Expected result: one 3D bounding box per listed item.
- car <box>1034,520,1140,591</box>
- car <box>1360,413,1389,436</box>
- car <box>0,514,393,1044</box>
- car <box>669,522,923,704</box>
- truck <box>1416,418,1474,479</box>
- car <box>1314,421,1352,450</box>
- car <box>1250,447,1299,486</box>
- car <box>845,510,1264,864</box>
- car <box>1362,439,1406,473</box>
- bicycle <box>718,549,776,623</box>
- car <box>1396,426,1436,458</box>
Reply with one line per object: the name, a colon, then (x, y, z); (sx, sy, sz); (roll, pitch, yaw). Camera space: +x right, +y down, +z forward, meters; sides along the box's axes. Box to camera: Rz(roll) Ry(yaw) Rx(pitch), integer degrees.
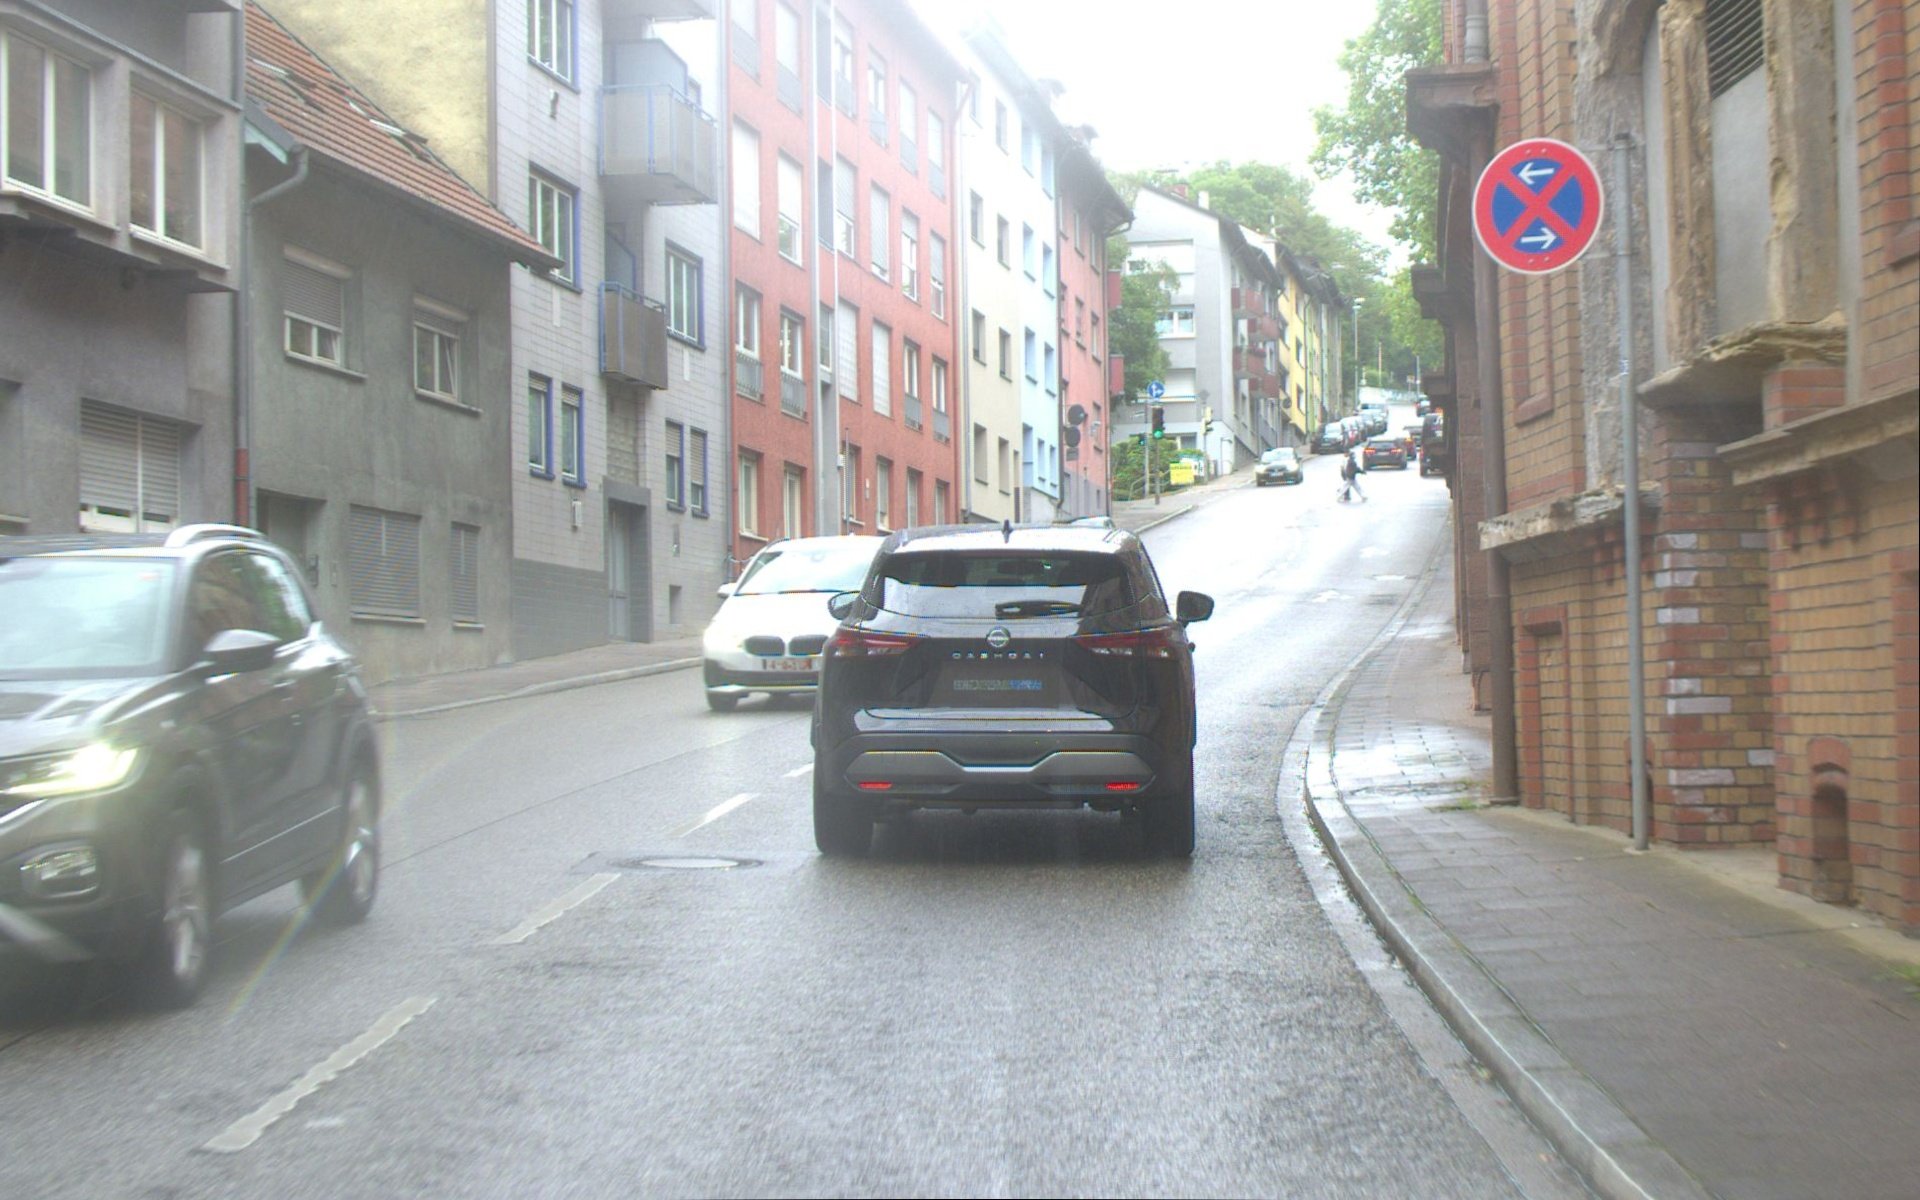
car: (2.722, -0.958, 72.759); (1.645, 1.373, 3.849); (-2, 1, 11)
car: (28.036, -11.859, 232.534); (1.795, 1.505, 3.999); (-1, 2, 9)
car: (-3.298, 0.526, 12.152); (1.764, 1.571, 3.764); (-1, 1, 3)
car: (-1.474, 0.085, 32.406); (1.764, 1.571, 4.035); (-1, 1, 6)
truck: (20.259, -6.308, 143.515); (2.290, 2.431, 4.451); (-1, 2, 9)
car: (20.429, -8.975, 188.176); (1.795, 1.505, 3.999); (-1, 2, 9)
car: (12.604, -5.354, 137.494); (1.714, 1.443, 3.920); (-2, 3, 8)
car: (0.425, 0.348, 17.502); (1.881, 1.588, 3.921); (0, 1, 0)
car: (19.259, -6.537, 156.174); (1.795, 1.505, 3.999); (-1, 2, 9)
bicycle: (-3.431, -0.236, 55.397); (0.499, 1.104, 1.799); (-1, 2, 10)
car: (22.740, -7.886, 171.357); (1.795, 1.505, 3.999); (-1, 2, 9)
